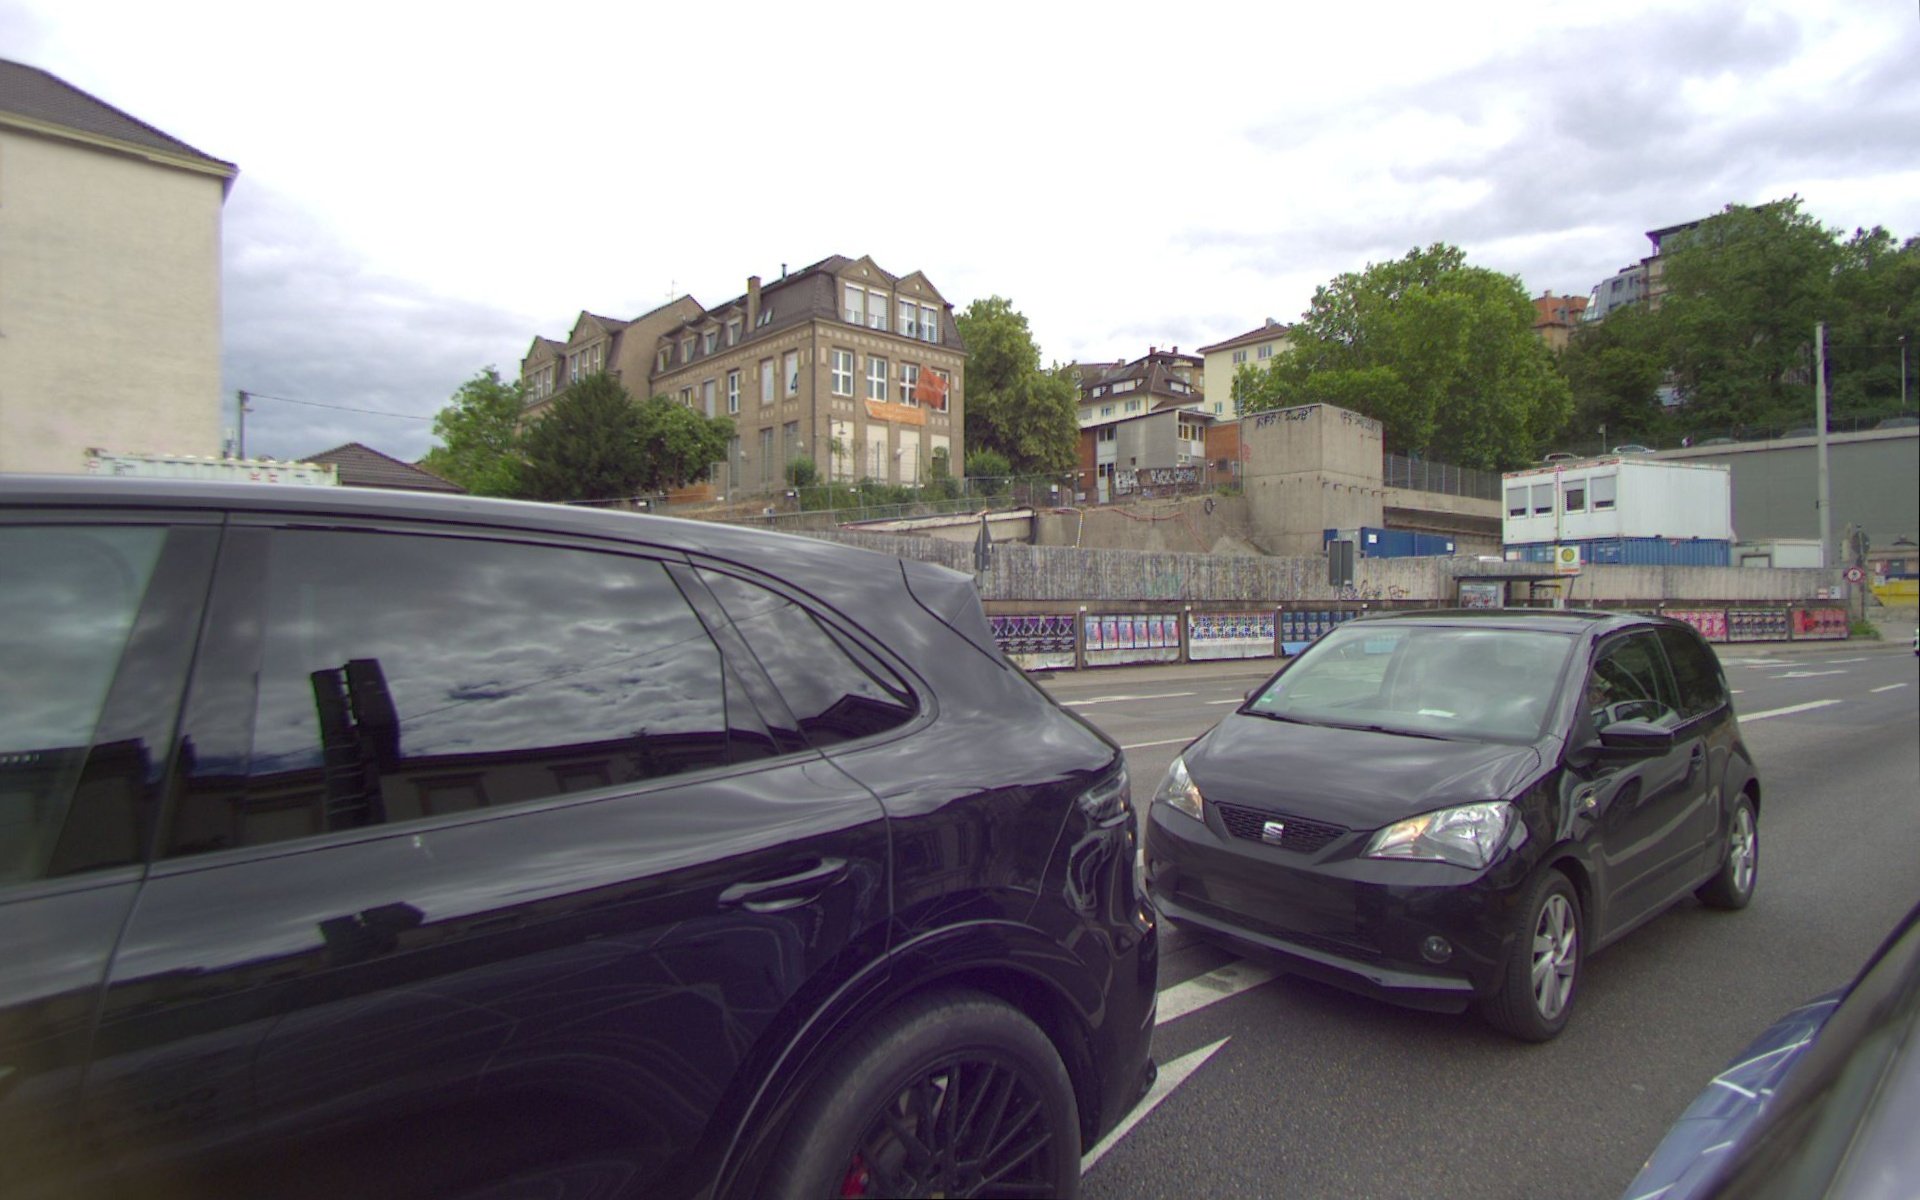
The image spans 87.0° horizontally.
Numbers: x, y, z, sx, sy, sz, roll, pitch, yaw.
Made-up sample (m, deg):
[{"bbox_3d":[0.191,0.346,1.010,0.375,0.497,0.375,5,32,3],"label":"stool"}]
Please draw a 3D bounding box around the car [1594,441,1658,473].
[{"bbox_3d":[53.568,-11.490,81.447,3.988,2.039,1.968,0,1,45],"label":"car"}]

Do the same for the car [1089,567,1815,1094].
[{"bbox_3d":[2.530,0.669,4.793,3.812,1.515,1.667,0,-1,-40],"label":"car"}]

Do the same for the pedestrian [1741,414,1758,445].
[{"bbox_3d":[57.108,-12.312,73.162,0.891,2.039,0.849,0,-1,-45],"label":"pedestrian"}]

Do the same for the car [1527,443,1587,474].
[{"bbox_3d":[50.252,-11.899,85.235,3.988,2.039,1.968,0,1,45],"label":"car"}]

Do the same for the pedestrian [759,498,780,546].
[{"bbox_3d":[-8.318,-3.370,44.083,0.656,2.039,0.644,0,0,-45],"label":"pedestrian"}]

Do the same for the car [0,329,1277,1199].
[{"bbox_3d":[-1.620,0.593,1.707,4.552,1.707,1.959,0,-1,-40],"label":"car"}]

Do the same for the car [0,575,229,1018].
[{"bbox_3d":[-4.881,0.701,3.425,3.812,1.563,1.667,0,-1,-40],"label":"car"}]

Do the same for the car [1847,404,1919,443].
[{"bbox_3d":[64.158,-12.171,70.056,1.966,2.039,3.991,0,1,-43],"label":"car"}]

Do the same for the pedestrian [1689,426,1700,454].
[{"bbox_3d":[56.739,-12.370,78.141,0.568,2.039,0.580,0,0,-44],"label":"pedestrian"}]
